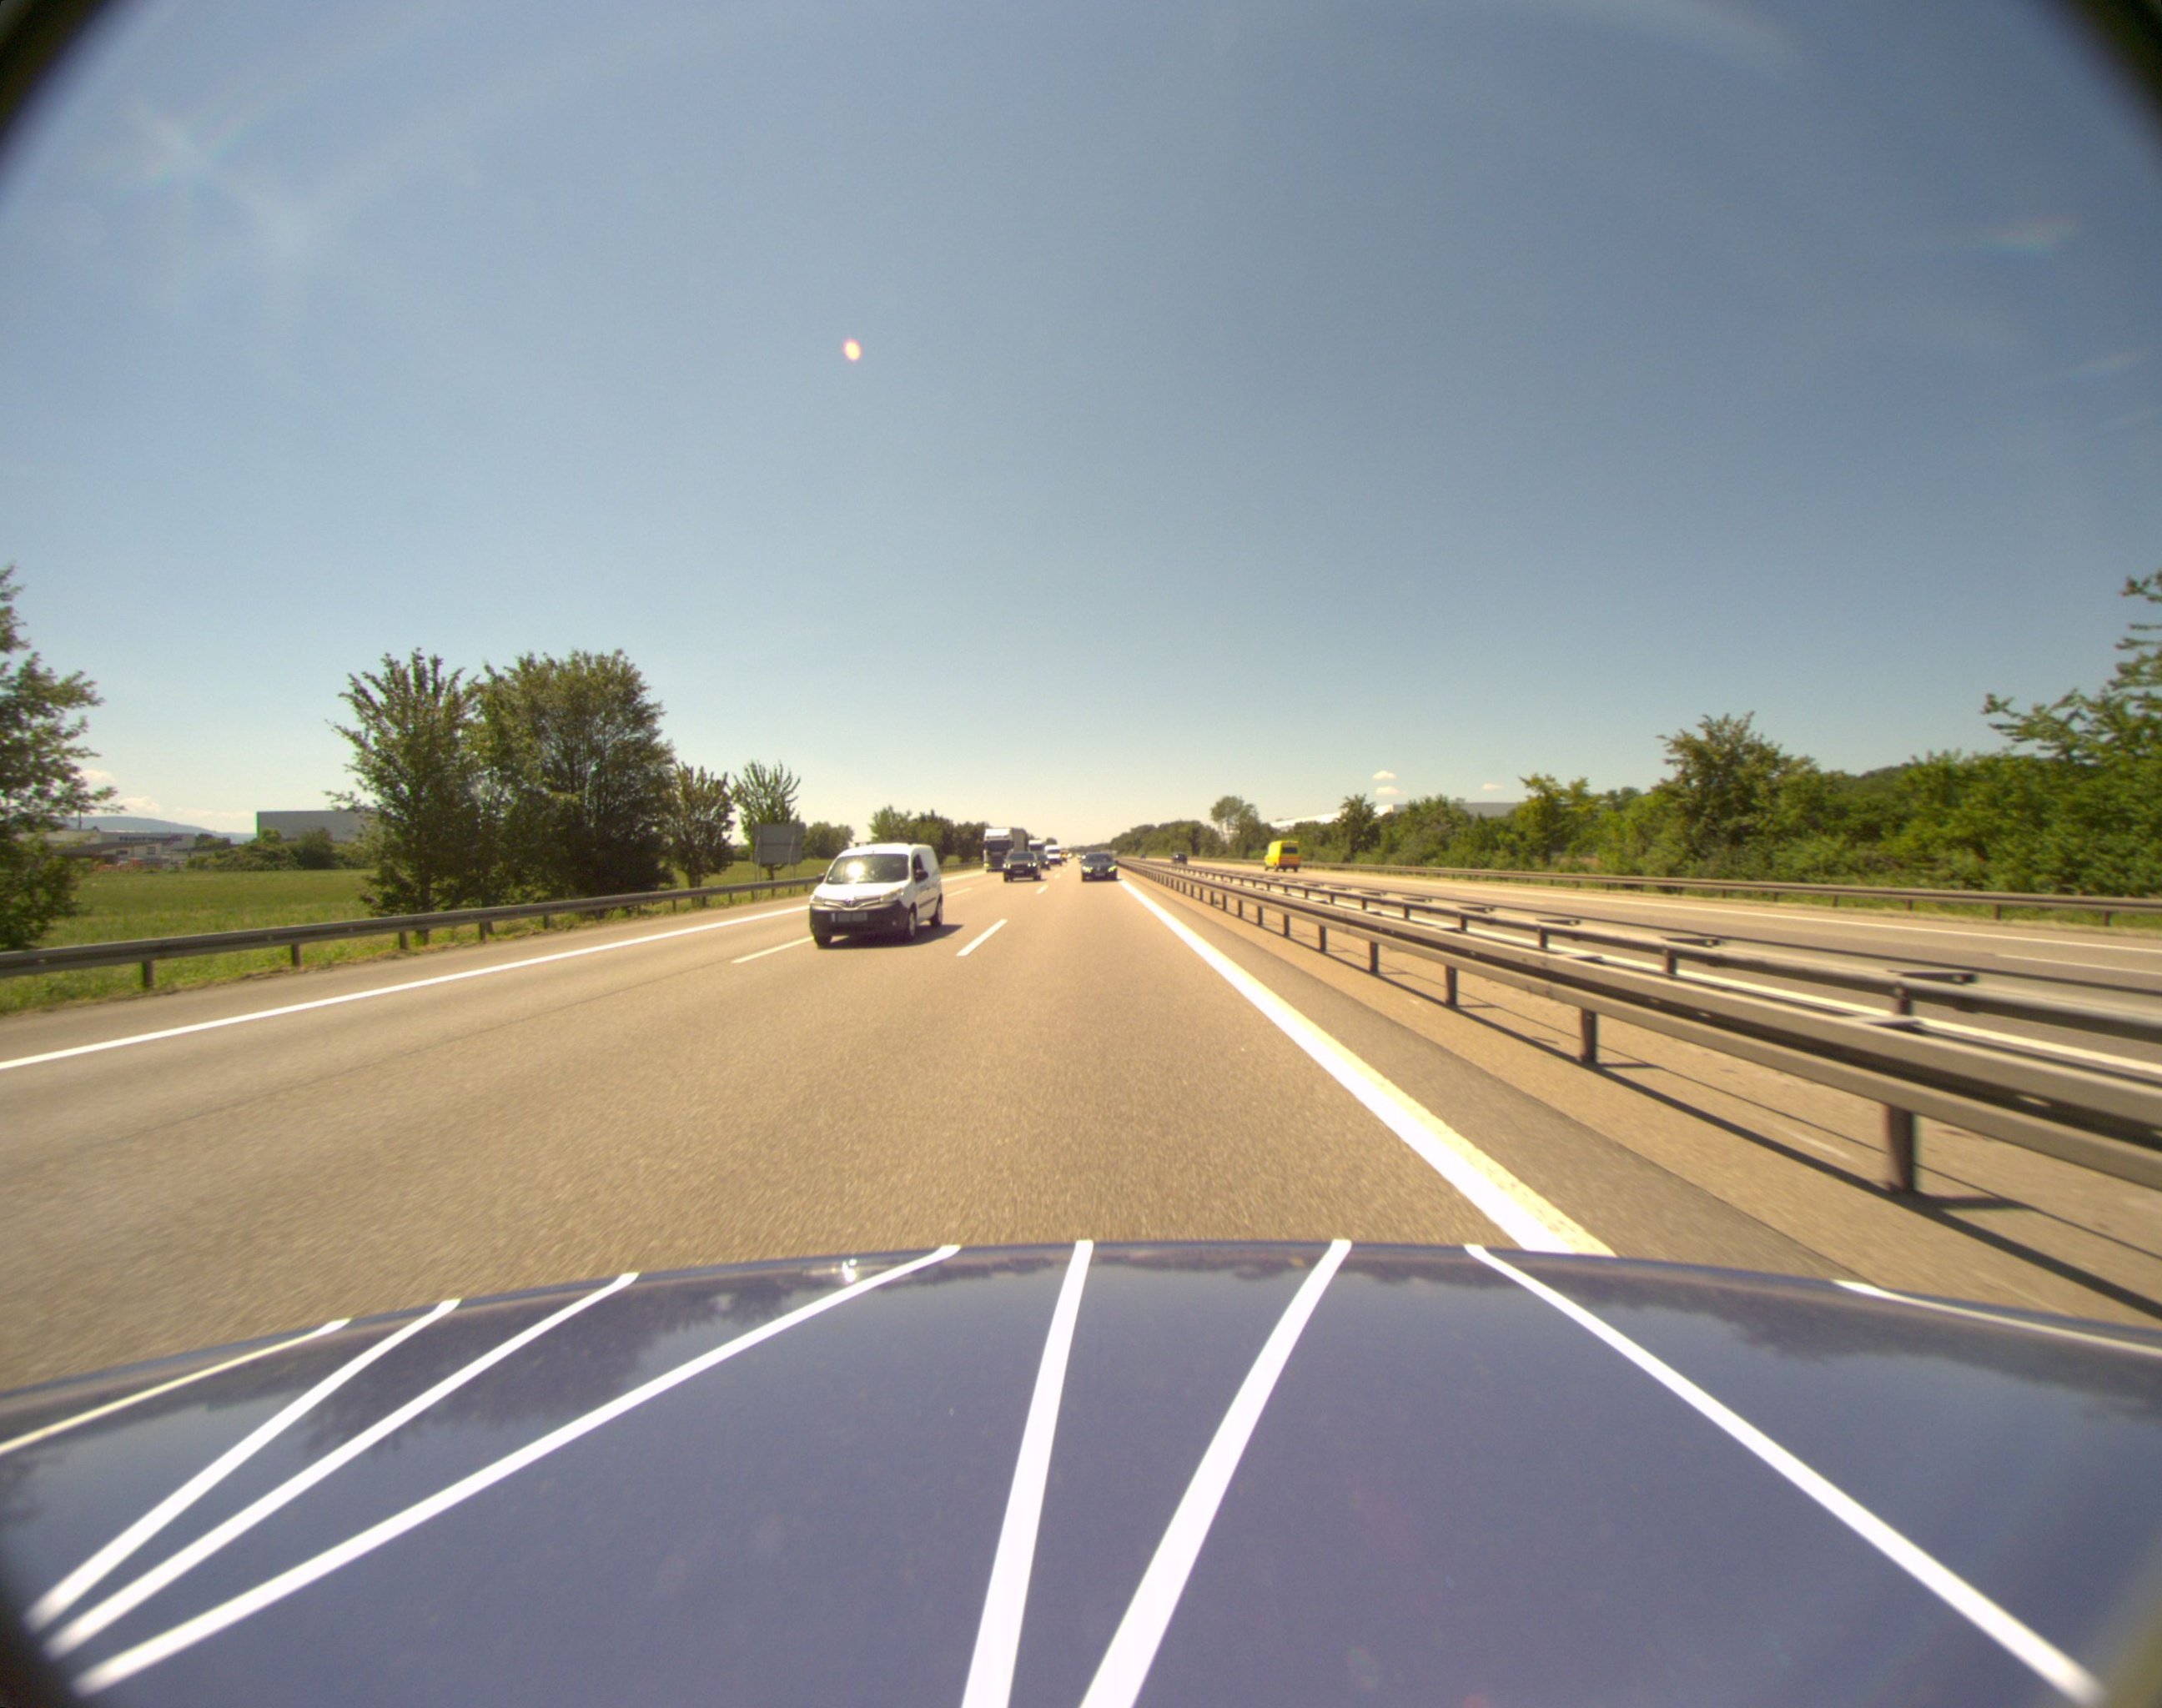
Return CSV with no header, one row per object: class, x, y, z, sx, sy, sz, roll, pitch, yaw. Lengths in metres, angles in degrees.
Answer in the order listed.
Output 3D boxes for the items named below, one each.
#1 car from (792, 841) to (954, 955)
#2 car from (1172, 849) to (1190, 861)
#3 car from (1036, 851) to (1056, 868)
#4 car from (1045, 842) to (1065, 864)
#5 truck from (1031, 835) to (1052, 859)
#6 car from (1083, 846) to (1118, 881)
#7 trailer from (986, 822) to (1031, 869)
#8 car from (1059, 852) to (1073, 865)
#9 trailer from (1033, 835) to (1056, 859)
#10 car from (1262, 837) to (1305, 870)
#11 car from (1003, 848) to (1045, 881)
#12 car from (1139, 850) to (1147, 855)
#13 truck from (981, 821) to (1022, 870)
car,-3.910,0.738,15.225,1.858,1.852,4.702,-2,0,0
car,13.793,0.134,104.610,1.873,1.680,4.626,1,0,0
car,-3.139,0.517,68.926,1.692,1.465,3.432,-2,0,-1
car,-3.067,-0.122,91.140,2.159,2.494,5.945,-3,0,0
truck,-6.793,-1.214,130.973,2.699,3.943,7.704,-2,0,2
car,1.006,0.473,39.657,1.690,1.646,3.462,-2,0,1
trailer,-7.291,-0.837,78.298,2.817,4.279,14.254,-2,0,1
car,-2.375,0.705,120.700,1.958,1.939,3.999,-3,0,0
trailer,-6.537,-1.226,137.440,2.699,3.943,13.962,-2,0,2
car,17.724,-0.065,66.785,2.171,2.763,5.799,1,0,0
car,-3.200,0.552,43.420,1.871,1.665,4.746,-2,0,2
car,17.329,-0.471,212.799,1.568,1.416,3.469,1,1,-4
truck,-7.406,-0.800,71.752,2.817,4.279,7.193,-2,0,1
